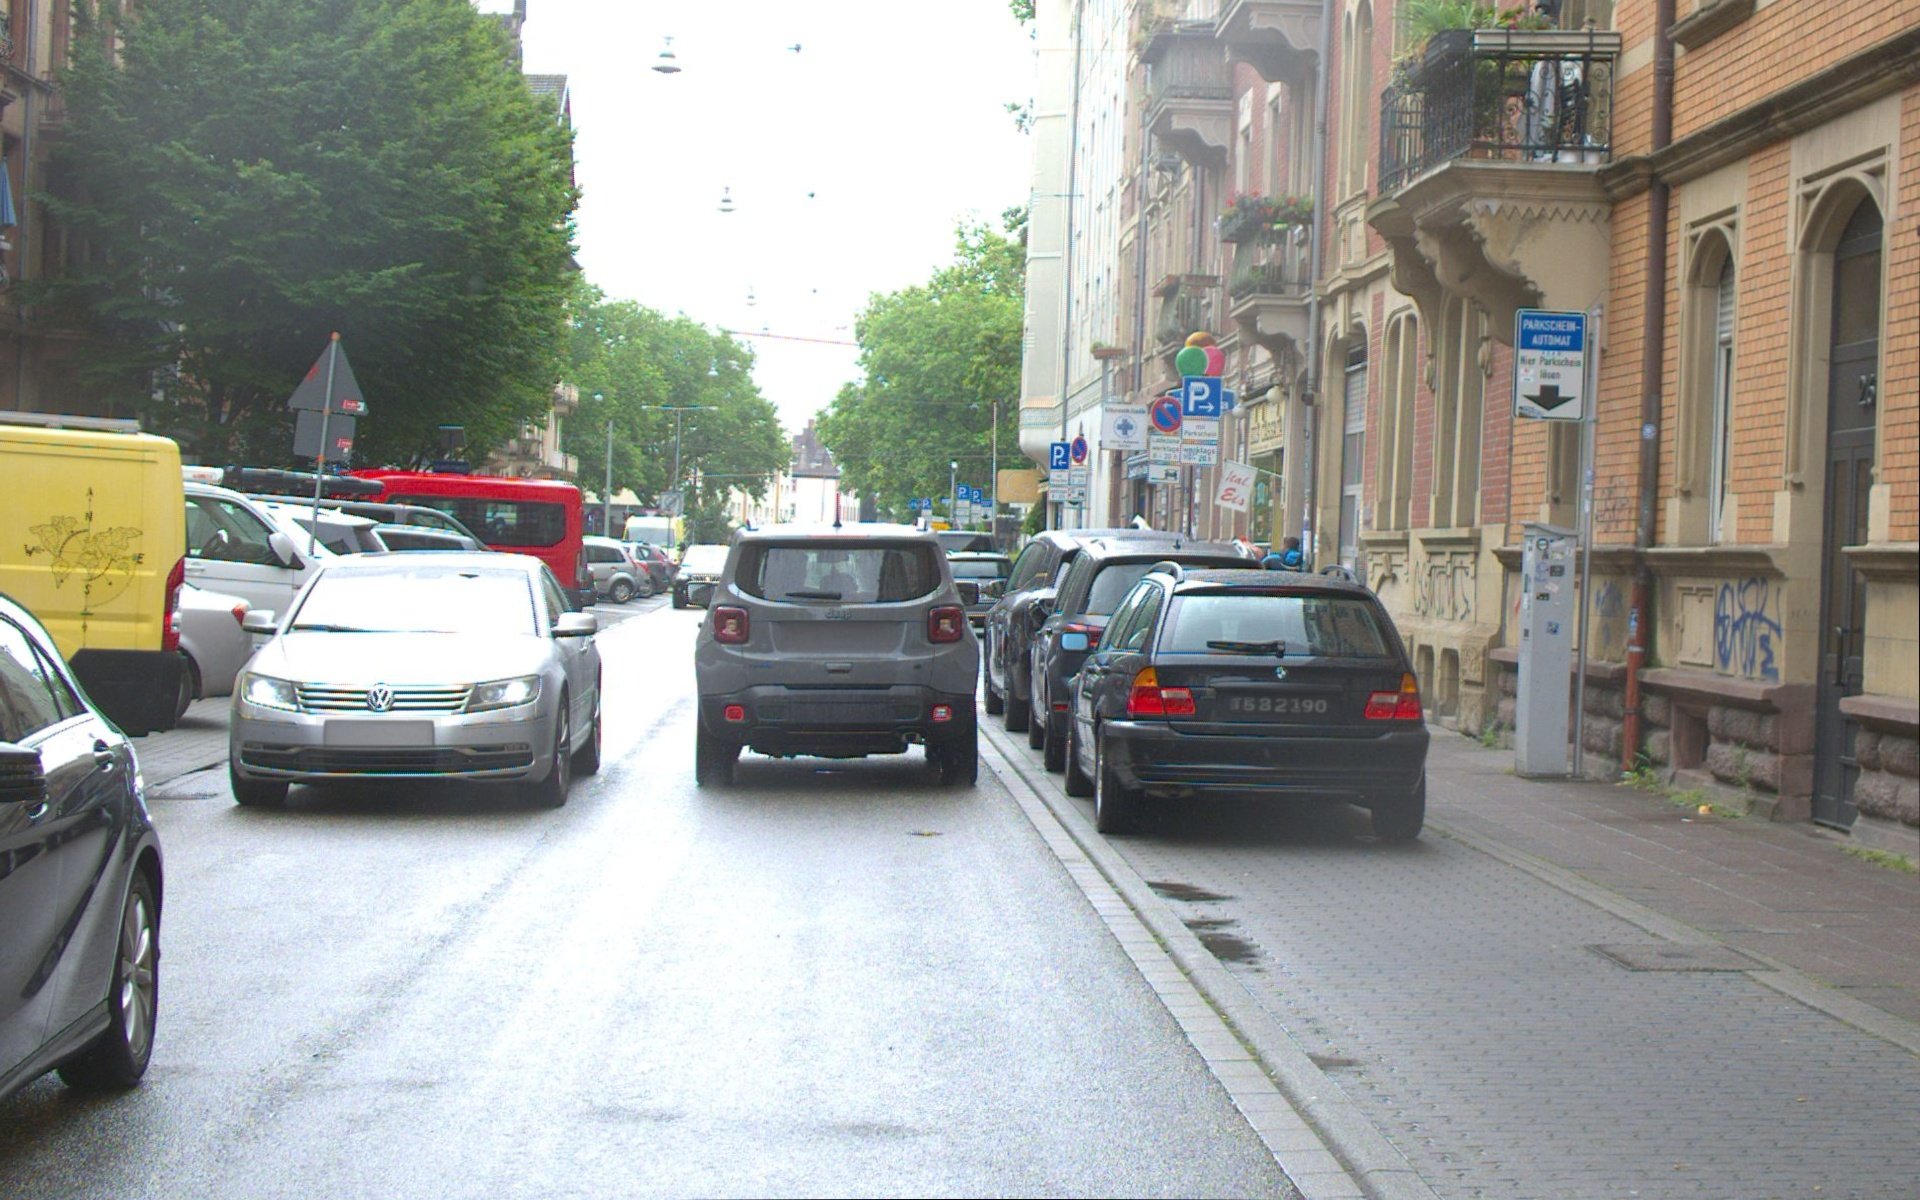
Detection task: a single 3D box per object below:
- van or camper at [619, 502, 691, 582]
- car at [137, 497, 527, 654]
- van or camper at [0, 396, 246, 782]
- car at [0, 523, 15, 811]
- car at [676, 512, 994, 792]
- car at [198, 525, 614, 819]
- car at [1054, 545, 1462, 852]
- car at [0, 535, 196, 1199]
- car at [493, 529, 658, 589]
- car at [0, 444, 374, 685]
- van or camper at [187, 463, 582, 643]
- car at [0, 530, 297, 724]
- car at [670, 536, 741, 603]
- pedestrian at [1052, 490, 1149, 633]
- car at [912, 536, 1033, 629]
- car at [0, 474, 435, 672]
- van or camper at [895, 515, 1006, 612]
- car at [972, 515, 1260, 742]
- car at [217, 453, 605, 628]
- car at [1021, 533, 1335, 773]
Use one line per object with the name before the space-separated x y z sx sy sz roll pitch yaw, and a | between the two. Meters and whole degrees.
van or camper | -10.766 -2.009 121.807 2.121 2.522 6.875 -2 -1 -2
car | -7.979 -0.304 43.741 4.430 1.625 1.845 4 1 -28
van or camper | -7.035 -0.184 20.761 4.711 2.260 2.185 3 1 -34
car | -7.083 0.349 17.537 3.987 1.490 1.827 -1 2 -34
car | -0.883 0.285 23.170 1.898 1.665 4.506 1 1 -3
car | -3.248 0.343 21.020 1.795 1.488 4.583 2 2 0
car | 1.559 0.459 19.525 1.787 1.461 4.484 2 1 -1
car | -3.022 0.604 7.885 1.795 1.488 4.139 0 1 -3
car | -9.513 -1.007 85.168 3.703 1.447 1.685 0 1 -37
car | -8.269 -0.351 31.764 5.235 2.071 1.870 2 0 -26
van or camper | -8.223 -0.663 49.156 5.008 2.341 2.345 2 1 -28
car | -7.390 0.175 26.707 3.986 1.431 1.785 2 1 -30
car | -6.319 -0.771 85.249 1.669 1.554 4.004 2 1 -4
pedestrian | 2.063 -0.571 50.493 0.680 1.928 0.808 1 -27 33
car | 0.183 -0.324 59.960 1.841 1.540 4.004 1 1 -3
car | -8.221 -0.317 37.503 4.578 1.779 2.546 4 1 -3
van or camper | -0.232 -0.757 69.387 2.021 1.884 5.055 1 1 -2
car | 1.253 0.197 29.875 1.993 1.773 4.827 1 1 -3
car | -8.670 -0.929 54.420 5.554 2.532 2.229 2 1 -29
car | 1.469 0.308 24.751 1.871 1.556 4.345 1 1 -1
